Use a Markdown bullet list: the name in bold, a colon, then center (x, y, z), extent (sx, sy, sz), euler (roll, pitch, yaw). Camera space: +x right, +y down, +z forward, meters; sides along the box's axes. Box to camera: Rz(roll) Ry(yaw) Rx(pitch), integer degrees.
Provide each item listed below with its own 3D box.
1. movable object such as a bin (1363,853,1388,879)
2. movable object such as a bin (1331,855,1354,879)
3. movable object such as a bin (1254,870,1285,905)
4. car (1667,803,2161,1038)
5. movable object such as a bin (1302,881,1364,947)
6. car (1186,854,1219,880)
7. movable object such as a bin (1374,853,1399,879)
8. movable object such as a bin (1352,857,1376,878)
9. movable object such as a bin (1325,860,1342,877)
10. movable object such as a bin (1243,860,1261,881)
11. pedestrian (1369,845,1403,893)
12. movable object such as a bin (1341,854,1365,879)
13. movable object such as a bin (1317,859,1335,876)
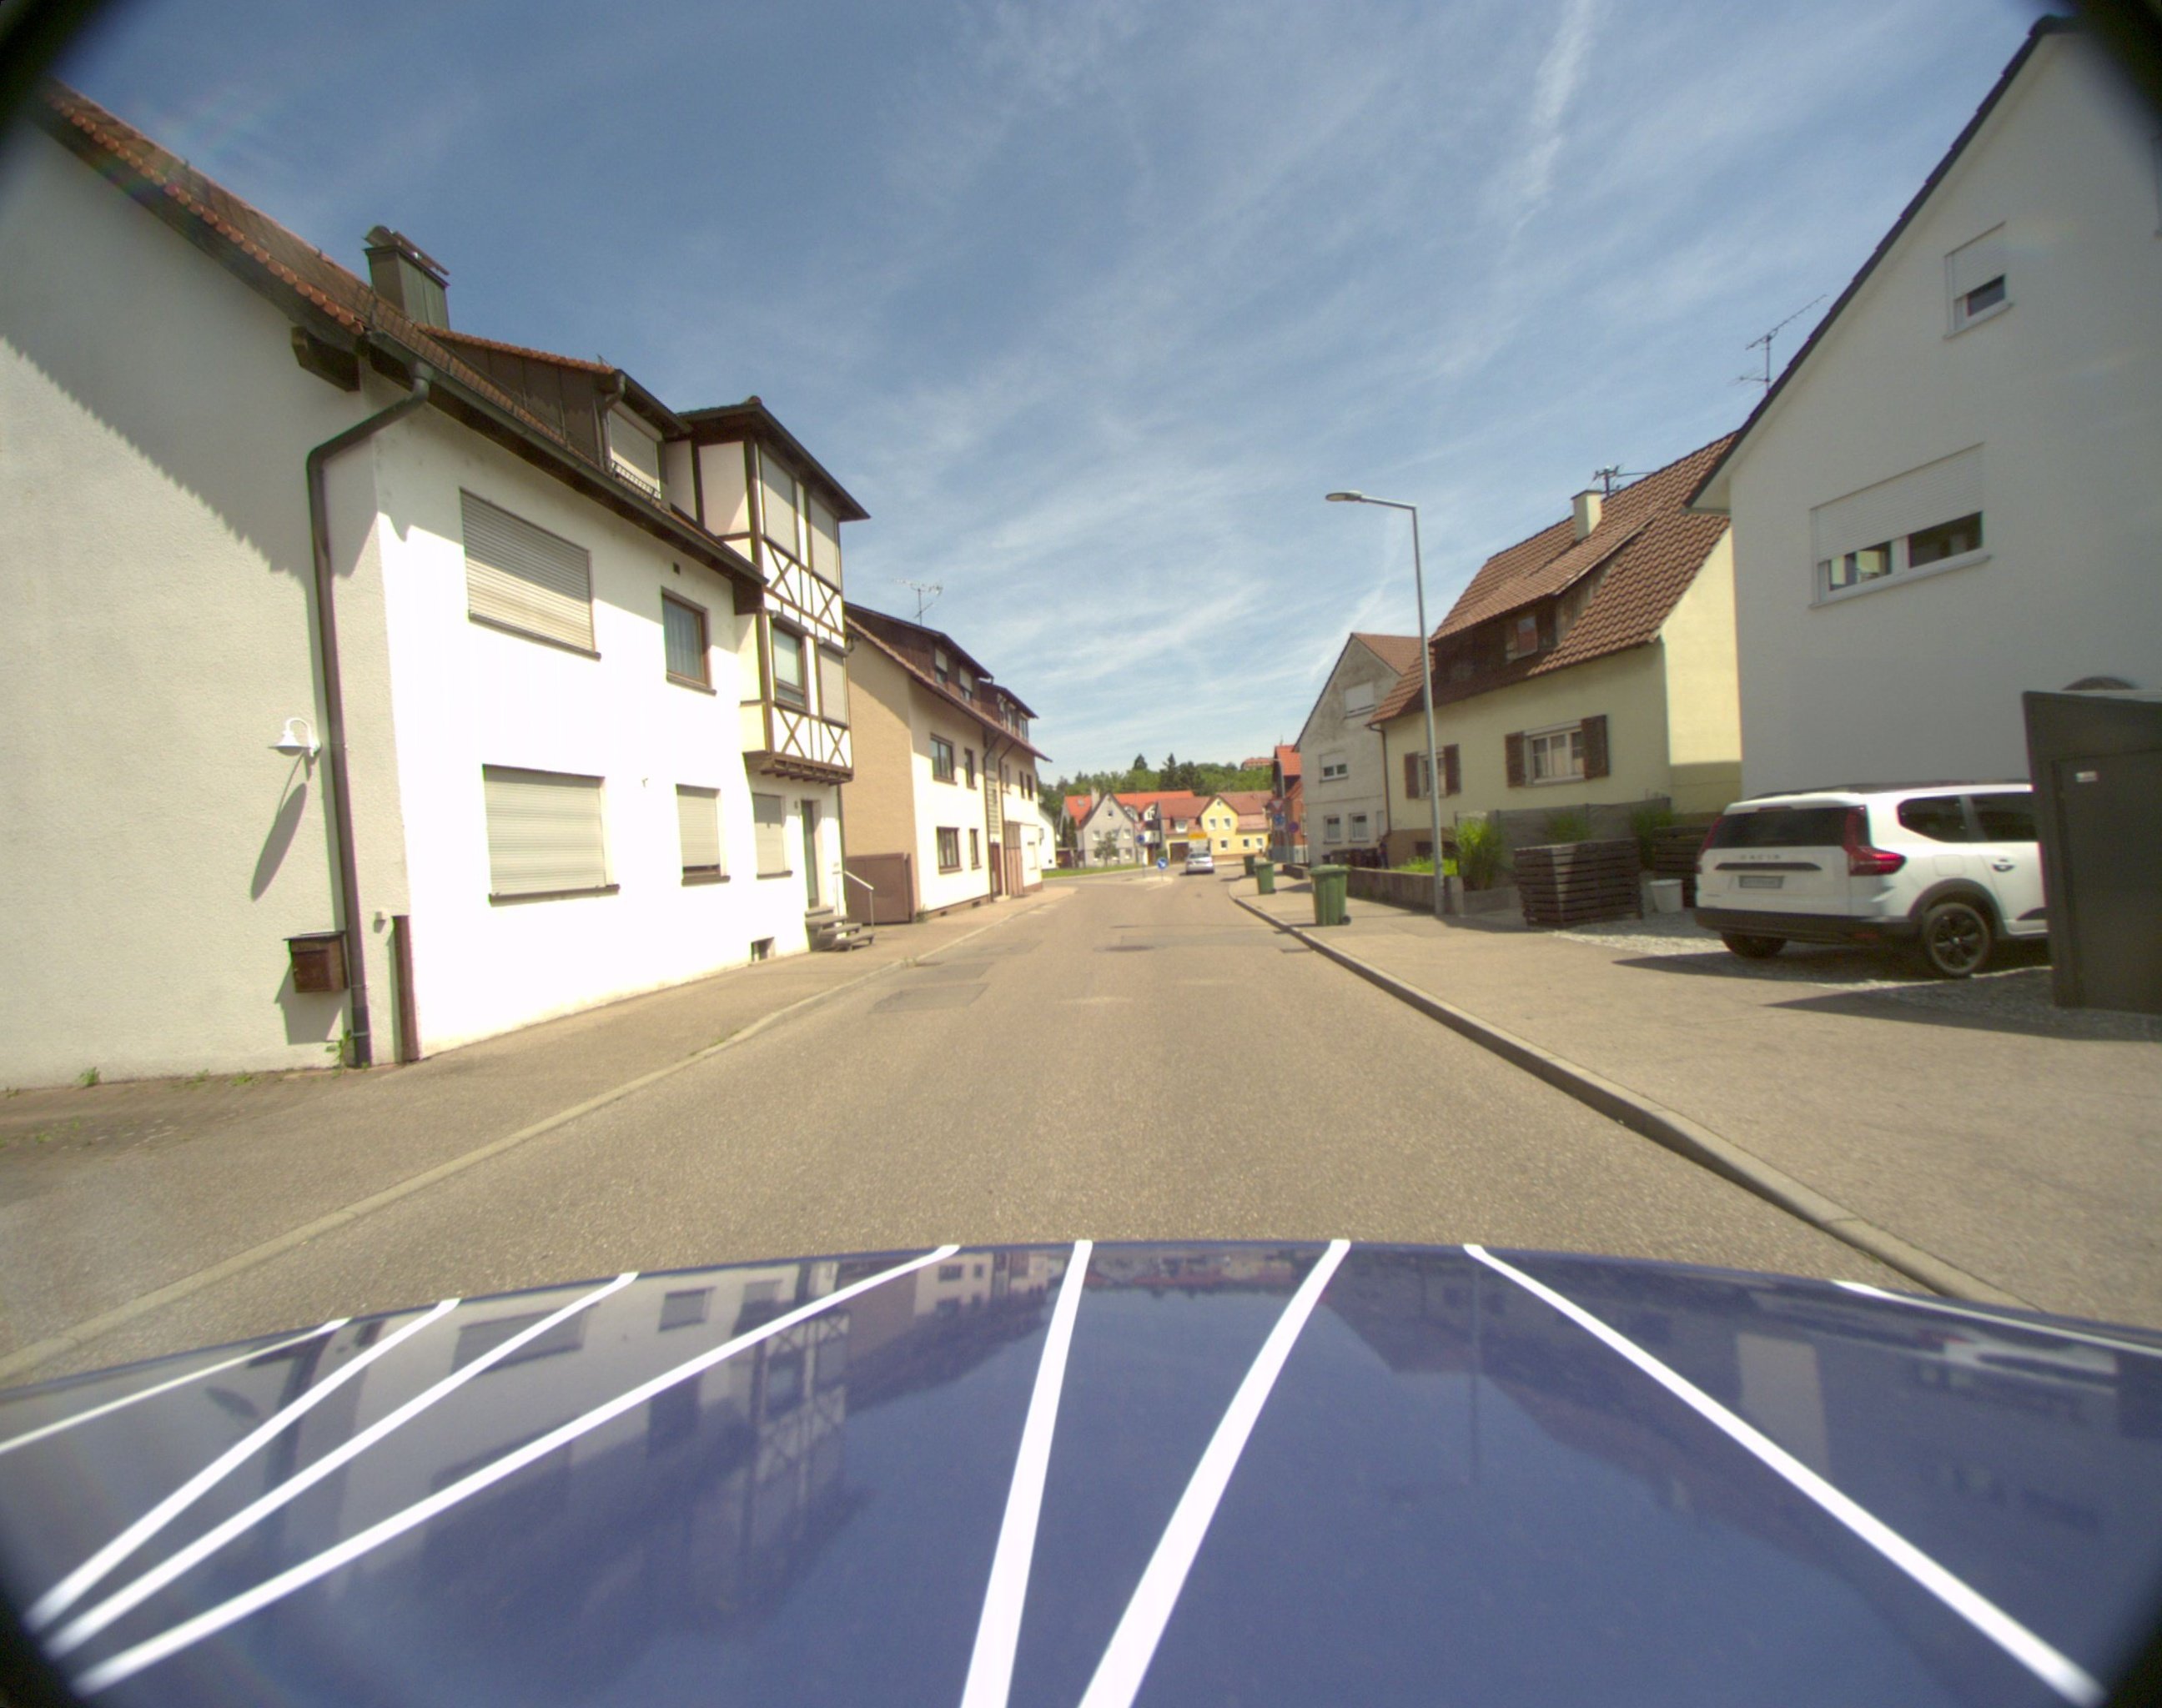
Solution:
- **movable object such as a bin**: center (12.957, 0.547, 33.461), extent (0.685, 1.076, 0.697), euler (-5, 0, -21)
- **movable object such as a bin**: center (12.197, 0.600, 35.443), extent (0.685, 1.080, 0.644), euler (-5, 0, -21)
- **movable object such as a bin**: center (6.012, 1.065, 24.300), extent (0.793, 1.051, 0.651), euler (-4, 0, 2)
- **car**: center (8.378, 0.465, 7.099), extent (4.415, 1.613, 1.999), euler (-4, 1, -7)
- **movable object such as a bin**: center (4.541, 1.071, 13.739), extent (0.827, 1.071, 0.818), euler (-4, 0, 6)
- **car**: center (8.067, 0.822, 50.287), extent (1.959, 1.477, 4.462), euler (-4, 0, 10)
- **movable object such as a bin**: center (13.193, 0.522, 32.810), extent (0.685, 1.076, 0.624), euler (-5, 0, -21)
- **movable object such as a bin**: center (12.704, 0.596, 34.137), extent (0.685, 0.891, 0.697), euler (-4, 0, -21)
- **movable object such as a bin**: center (12.036, 0.676, 36.173), extent (0.487, 0.776, 0.526), euler (-5, 0, -21)
- **movable object such as a bin**: center (9.185, 0.867, 40.816), extent (0.810, 1.039, 0.828), euler (-4, 0, 16)
- **pedestrian**: center (10.508, 0.511, 26.214), extent (0.779, 1.565, 0.627), euler (-4, 0, -3)
- **movable object such as a bin**: center (12.442, 0.562, 34.800), extent (0.685, 1.080, 0.697), euler (-5, 0, -21)
- **movable object such as a bin**: center (11.833, 0.652, 36.747), extent (0.487, 0.800, 0.646), euler (-5, 0, -19)
